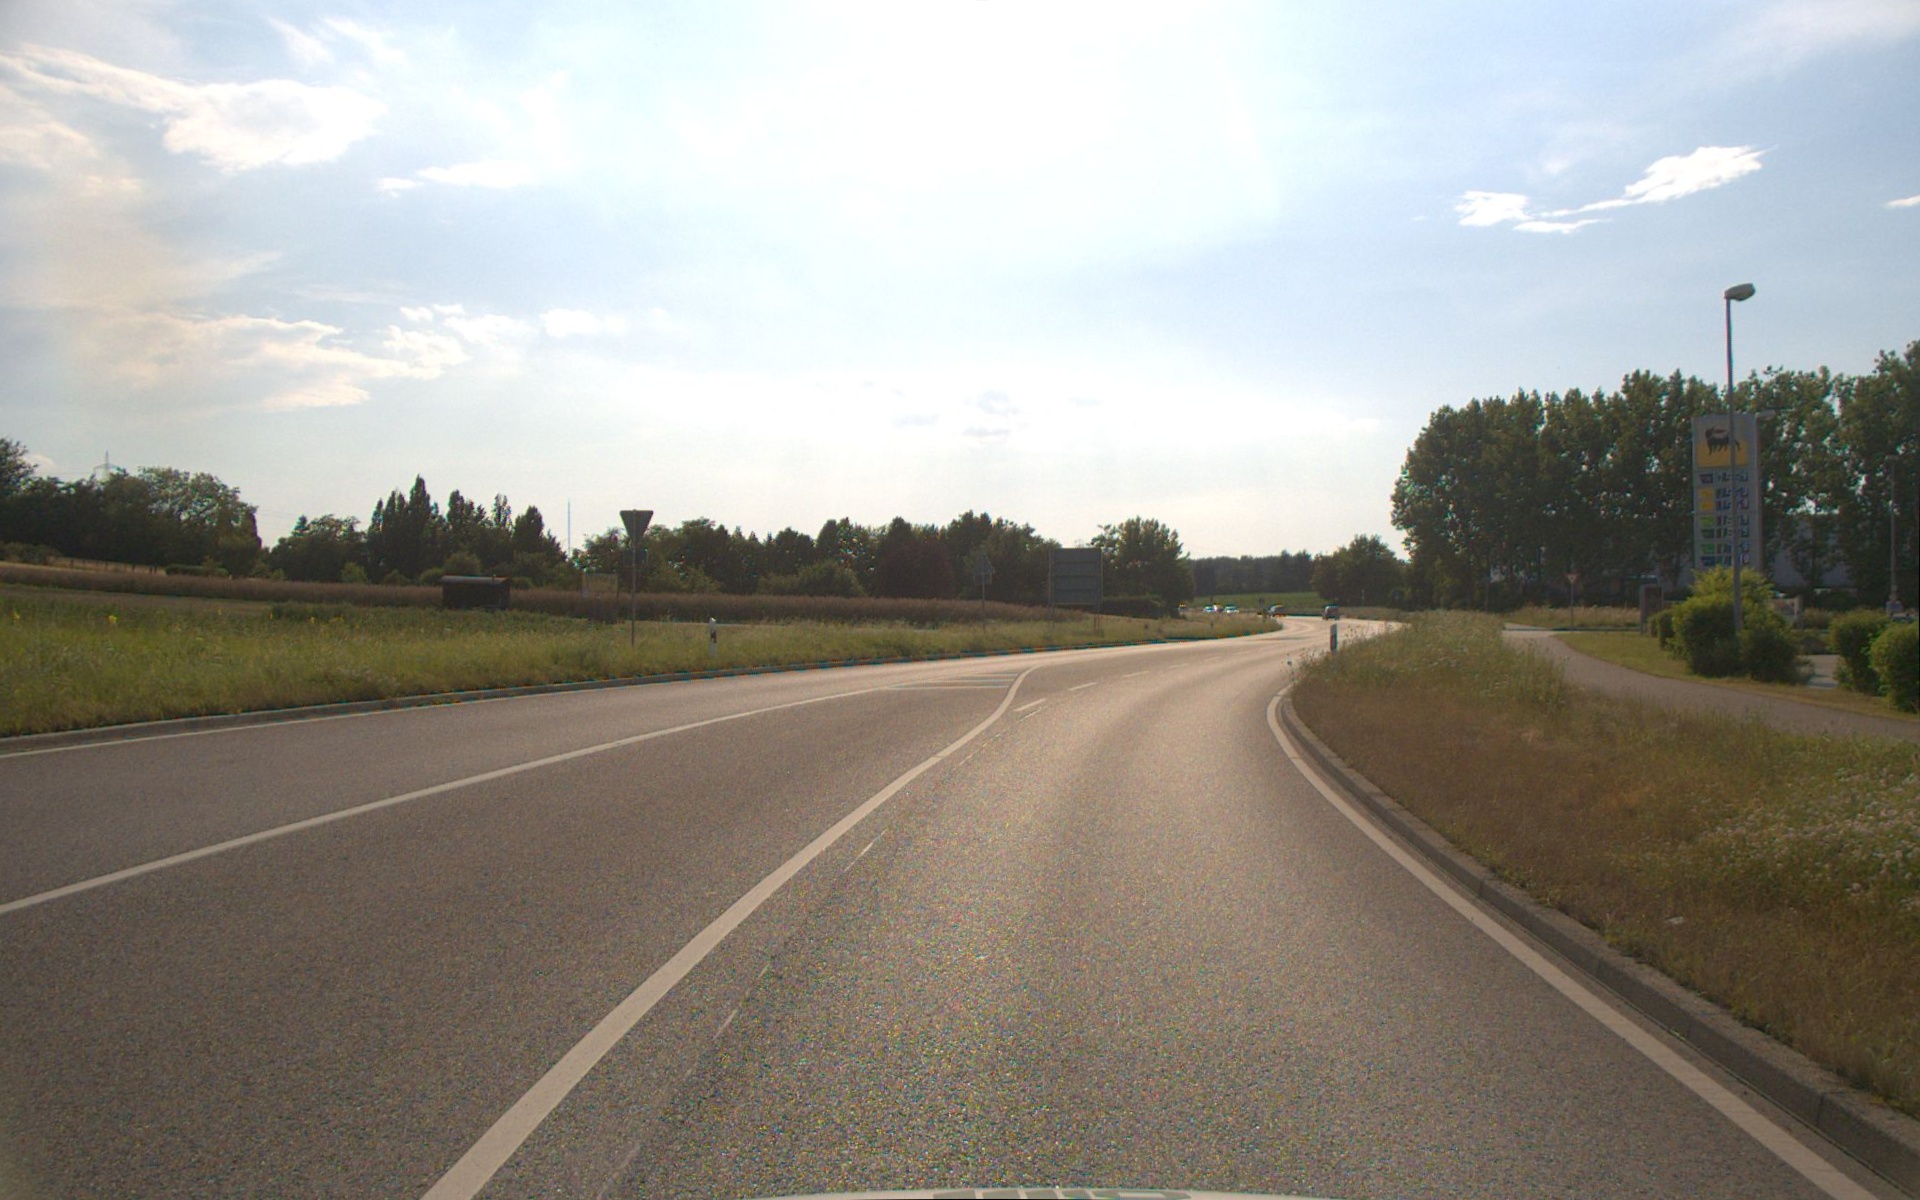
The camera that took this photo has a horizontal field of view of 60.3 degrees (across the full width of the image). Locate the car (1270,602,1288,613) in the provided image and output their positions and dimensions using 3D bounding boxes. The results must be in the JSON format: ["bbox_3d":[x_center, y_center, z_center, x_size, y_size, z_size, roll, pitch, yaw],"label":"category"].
[{"bbox_3d":[43.662,1.030,226.377,1.812,1.432,3.645,2,-1,2],"label":"car"}]

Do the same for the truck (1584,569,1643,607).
[{"bbox_3d":[60.463,-1.077,153.082,2.572,3.217,5.697,2,-2,-9],"label":"truck"}]
